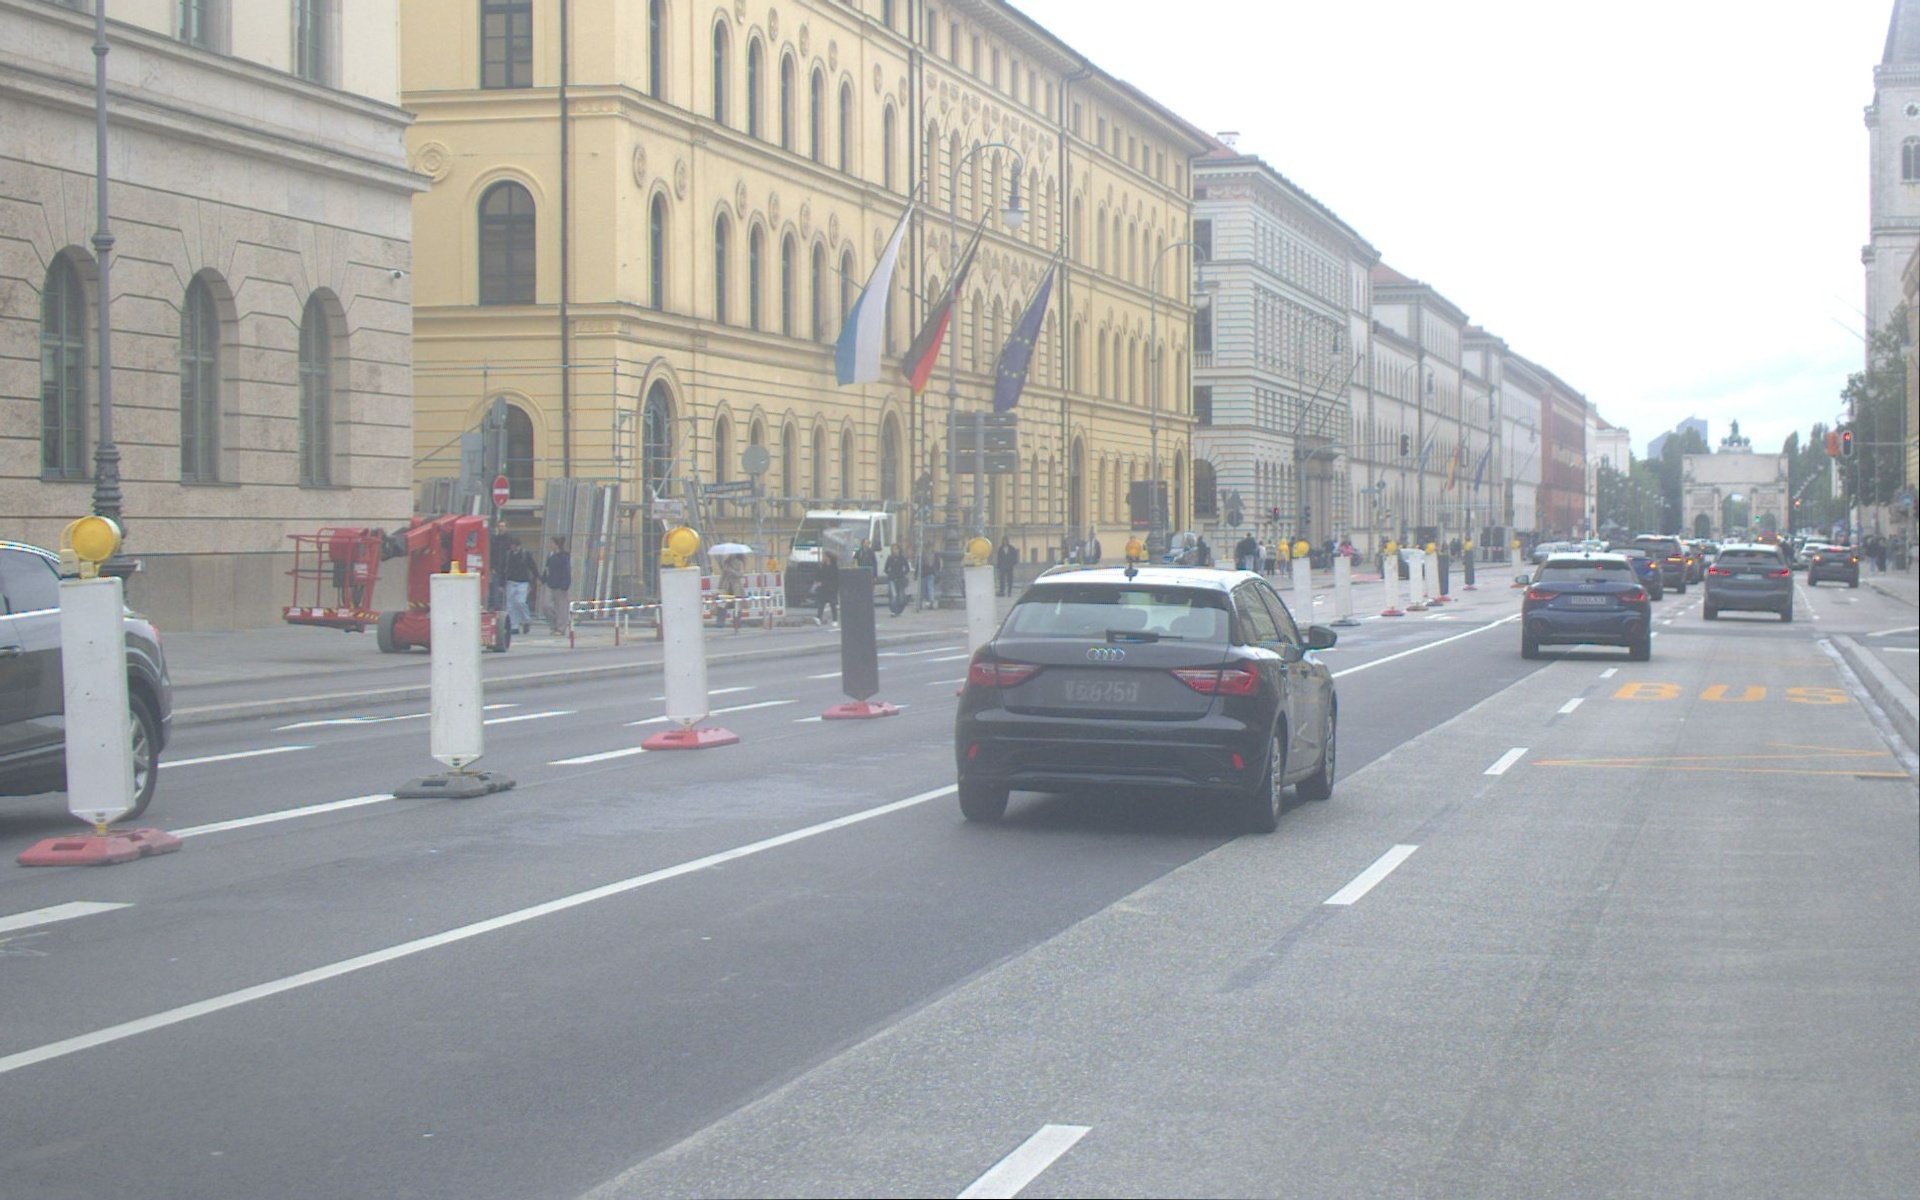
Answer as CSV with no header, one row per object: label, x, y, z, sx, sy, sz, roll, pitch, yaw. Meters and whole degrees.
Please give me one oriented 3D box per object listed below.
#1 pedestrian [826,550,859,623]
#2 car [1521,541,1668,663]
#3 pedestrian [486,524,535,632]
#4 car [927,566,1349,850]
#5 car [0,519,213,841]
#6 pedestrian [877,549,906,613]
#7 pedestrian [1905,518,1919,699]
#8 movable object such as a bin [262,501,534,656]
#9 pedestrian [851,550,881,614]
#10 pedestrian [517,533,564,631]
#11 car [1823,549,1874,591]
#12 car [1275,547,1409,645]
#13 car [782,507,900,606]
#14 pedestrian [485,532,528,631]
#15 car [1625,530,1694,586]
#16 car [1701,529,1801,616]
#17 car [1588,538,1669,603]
pedestrian,-2.464,-0.286,72.092,0.552,1.525,0.617,1,0,10
car,8.861,0.025,47.824,1.770,1.611,3.997,1,0,14
pedestrian,-8.038,-0.395,61.501,0.679,1.925,0.652,1,0,10
car,1.127,0.528,19.638,1.864,1.383,3.998,1,1,11
car,-5.529,0.410,17.002,1.787,1.561,4.574,-2,1,13
pedestrian,-1.521,-0.415,76.366,0.540,1.406,0.617,1,0,10
pedestrian,10.143,0.094,35.674,0.616,1.868,0.541,1,0,18
movable object such as a bin,-7.713,-0.279,47.854,1.512,2.007,5.971,1,0,14
pedestrian,-2.081,-0.402,76.480,0.540,1.402,0.617,1,0,10
pedestrian,-7.112,-0.300,58.285,0.612,1.647,0.617,1,0,10
car,34.736,-1.160,134.505,1.861,1.573,3.997,1,0,14
car,6.573,-0.065,58.869,1.770,1.611,3.997,1,0,14
car,-2.787,-1.006,81.307,1.740,2.281,3.997,1,0,14
pedestrian,-7.706,-0.312,58.405,0.552,1.670,0.617,1,0,10
car,22.241,-1.343,109.275,1.995,1.766,3.998,0,1,14
car,16.577,-0.591,71.976,1.995,1.766,3.998,0,1,14
car,18.470,-0.836,94.906,1.995,1.766,3.998,0,1,14
